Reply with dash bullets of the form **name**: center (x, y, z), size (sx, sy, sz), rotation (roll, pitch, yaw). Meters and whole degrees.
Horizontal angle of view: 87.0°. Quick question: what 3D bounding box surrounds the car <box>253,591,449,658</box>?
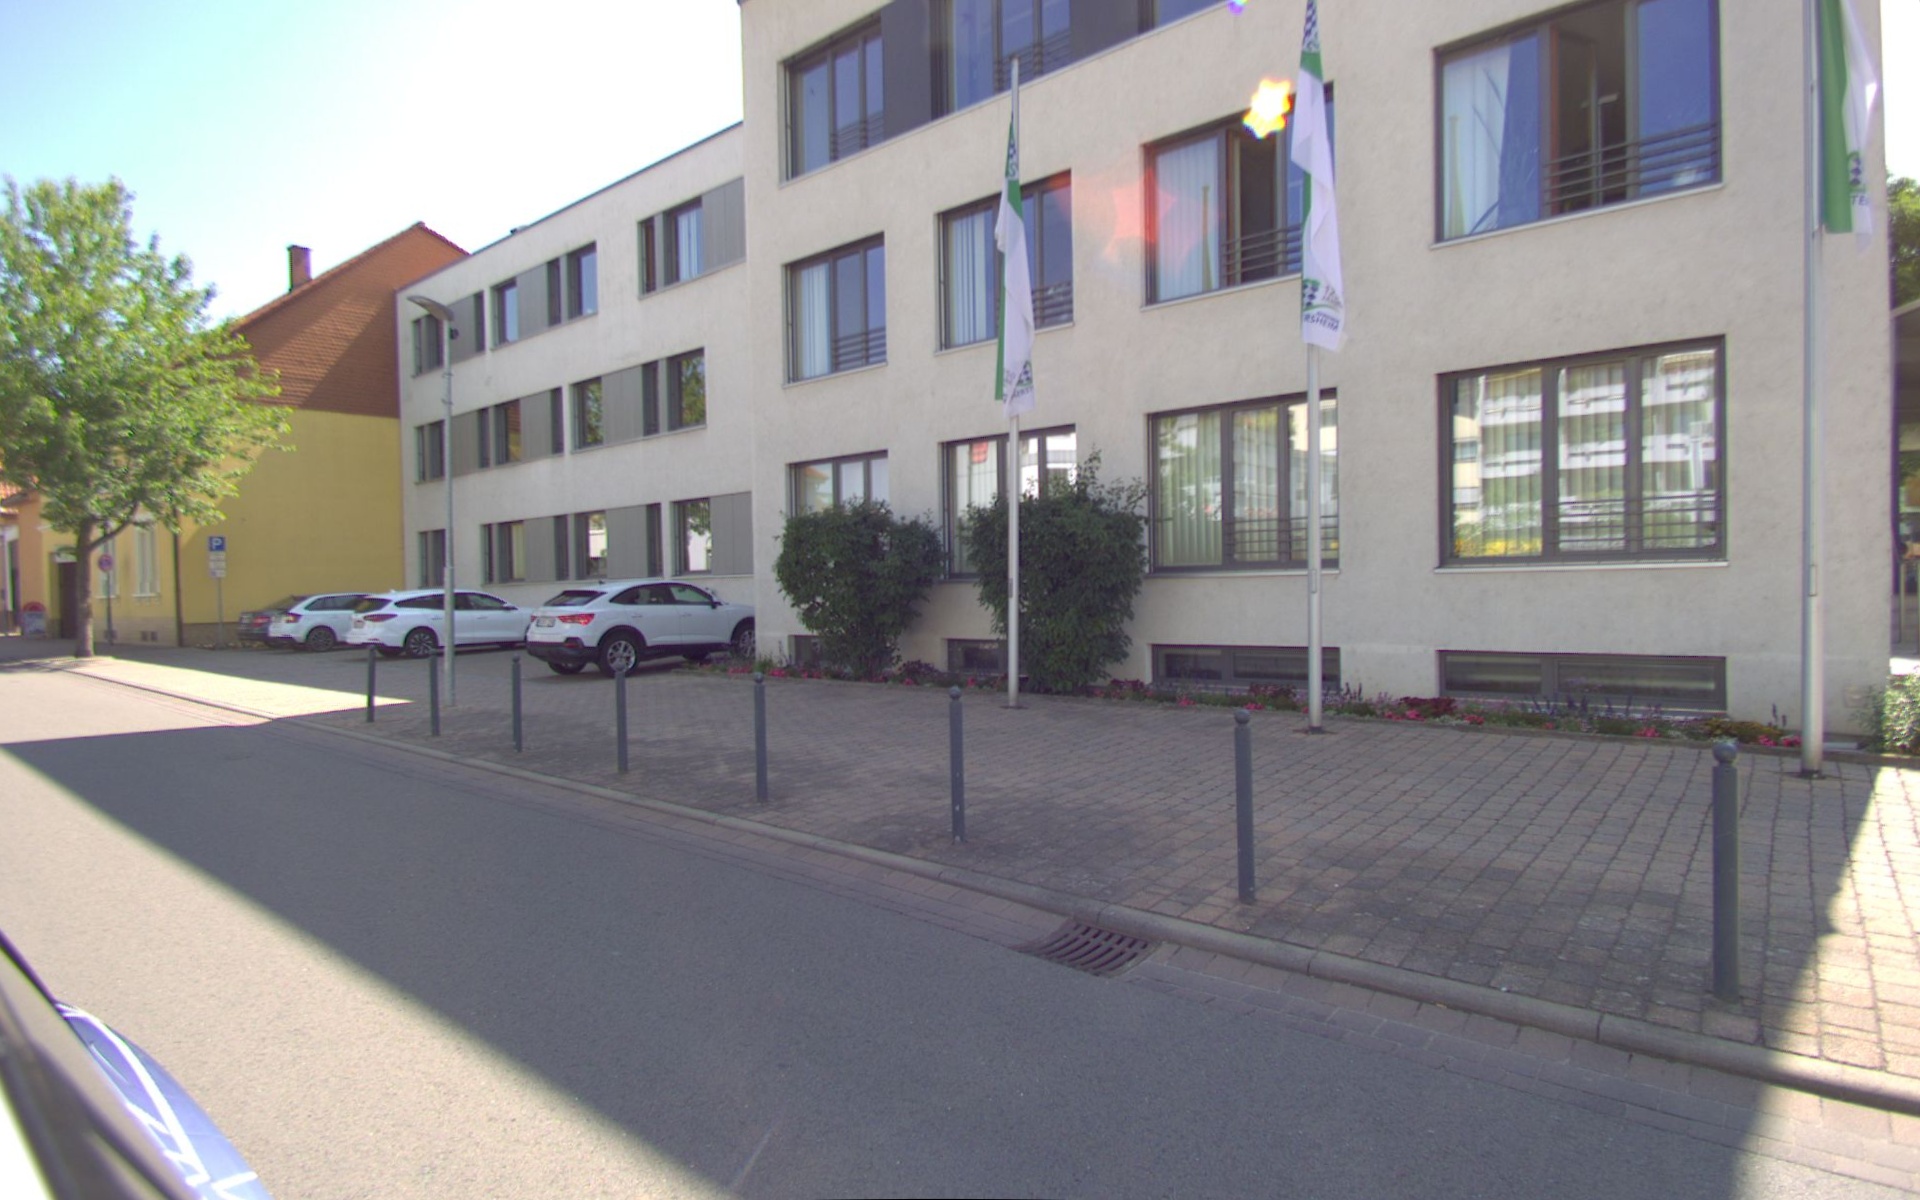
- **car**: center (-15.722, 0.591, 26.267), size (1.806, 1.462, 3.947), rotation (-1, 1, 40)

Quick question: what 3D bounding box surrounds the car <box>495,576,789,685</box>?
- **car**: center (-5.429, 0.425, 17.784), size (2.145, 1.565, 4.463), rotation (-1, 2, 38)

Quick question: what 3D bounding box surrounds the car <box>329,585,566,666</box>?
- **car**: center (-11.650, 0.492, 23.272), size (1.933, 1.565, 4.459), rotation (1, 3, 40)

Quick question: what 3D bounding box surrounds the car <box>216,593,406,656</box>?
- **car**: center (-17.814, 0.635, 27.922), size (1.968, 1.442, 3.952), rotation (-2, 1, 36)
